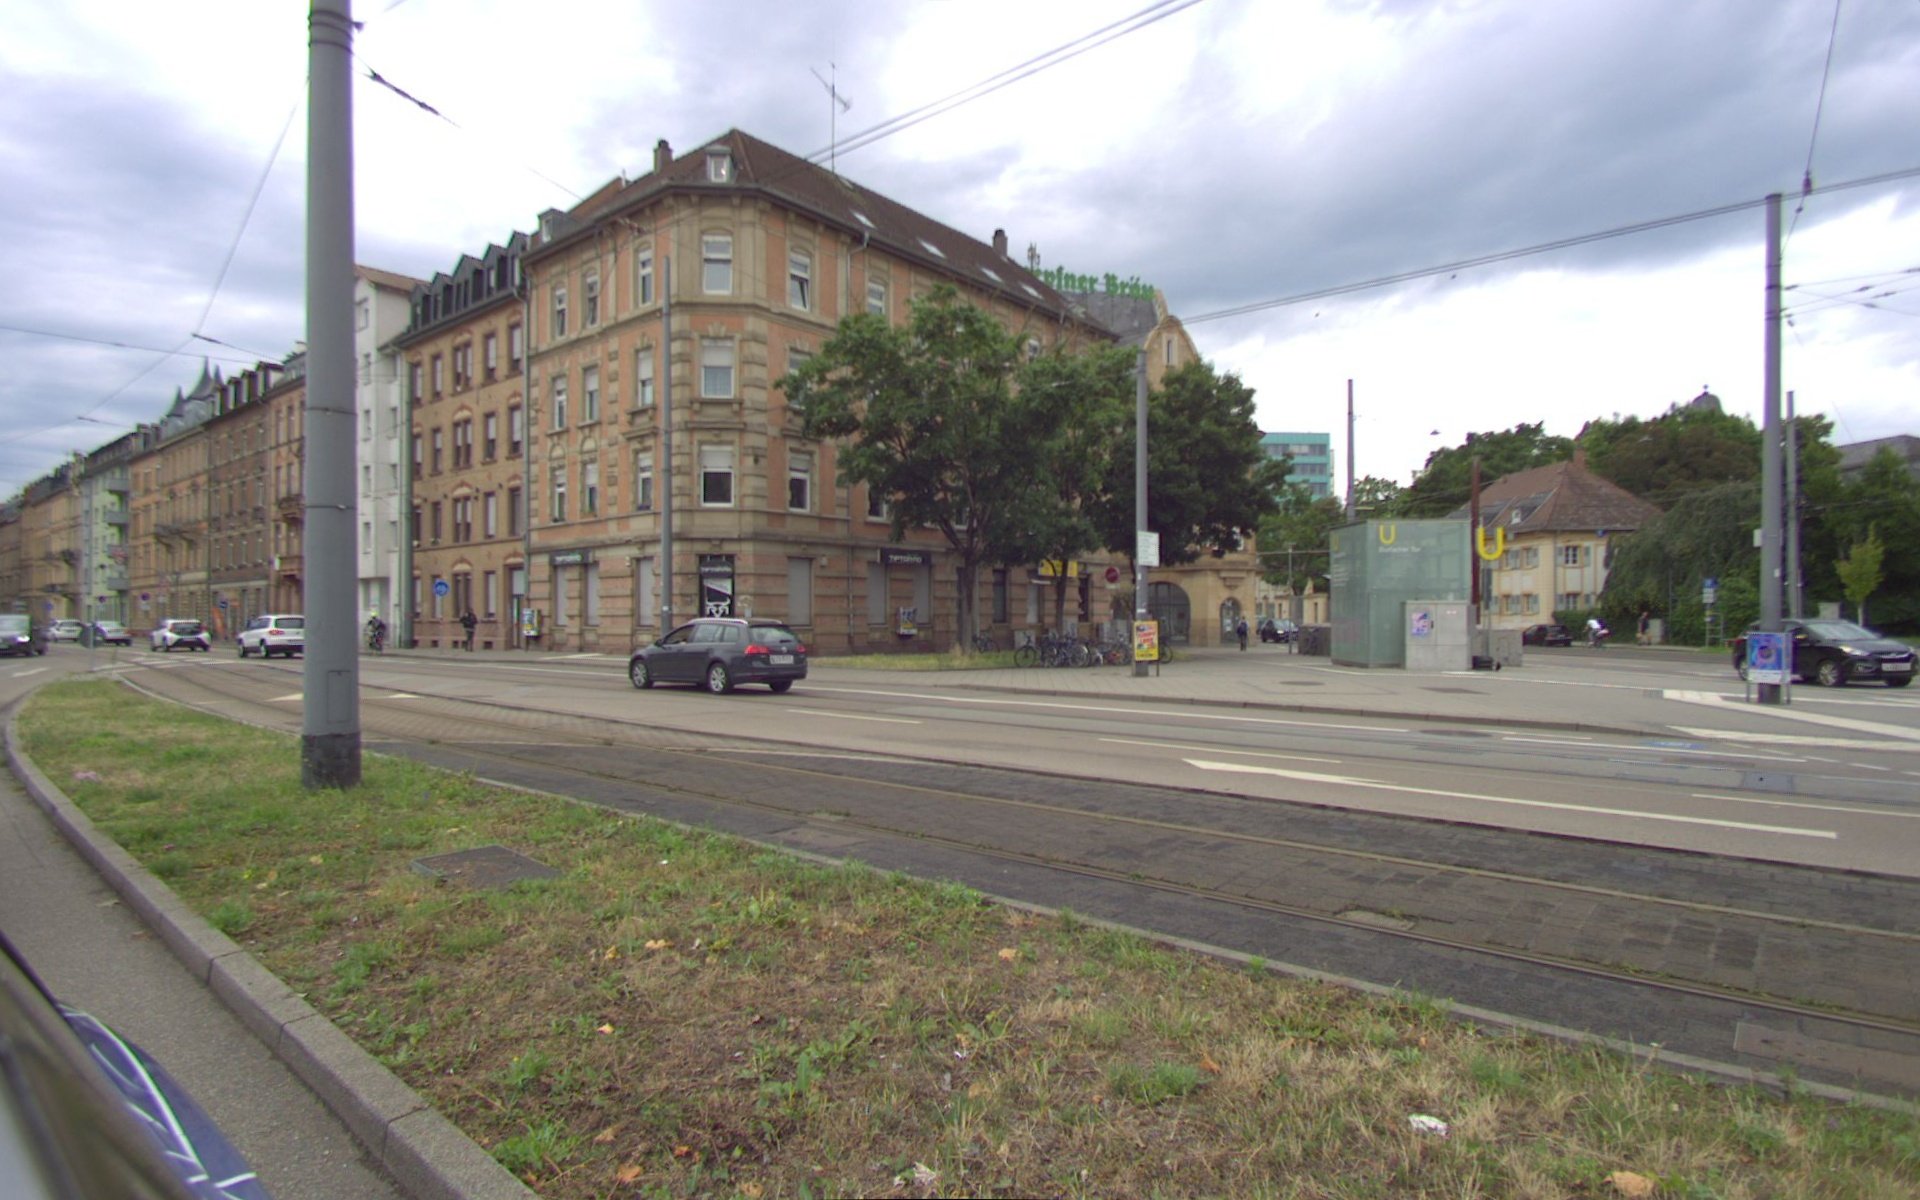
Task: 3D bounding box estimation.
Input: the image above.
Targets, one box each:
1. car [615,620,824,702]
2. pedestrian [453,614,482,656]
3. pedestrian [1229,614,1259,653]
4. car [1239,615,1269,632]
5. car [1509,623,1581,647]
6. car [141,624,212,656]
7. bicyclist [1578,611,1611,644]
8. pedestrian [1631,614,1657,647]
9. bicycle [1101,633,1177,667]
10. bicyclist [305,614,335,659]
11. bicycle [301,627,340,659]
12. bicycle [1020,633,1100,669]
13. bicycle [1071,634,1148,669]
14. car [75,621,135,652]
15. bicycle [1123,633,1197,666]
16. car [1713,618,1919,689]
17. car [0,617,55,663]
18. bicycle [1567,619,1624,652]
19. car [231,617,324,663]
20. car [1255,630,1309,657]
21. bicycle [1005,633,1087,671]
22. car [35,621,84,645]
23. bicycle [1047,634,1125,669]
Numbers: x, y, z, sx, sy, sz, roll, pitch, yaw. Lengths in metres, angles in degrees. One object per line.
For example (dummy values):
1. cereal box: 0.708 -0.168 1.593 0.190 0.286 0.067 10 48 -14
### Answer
1. car: -5.001 1.169 20.713 4.459 1.481 1.865 -1 -1 39
2. pedestrian: -20.123 1.412 41.374 0.797 1.688 0.802 -1 -2 37
3. pedestrian: 14.067 1.666 50.133 1.083 1.911 1.139 -1 -2 34
4. car: 31.784 2.554 109.607 1.971 1.863 4.001 0 -1 -2
5. car: 35.706 2.128 61.936 1.971 1.442 4.001 0 -1 -2
6. car: -36.983 1.864 47.763 4.013 1.442 1.792 -1 -1 39
7. bicyclist: 34.638 1.507 55.273 1.077 1.796 1.017 0 -1 -2
8. pedestrian: 38.460 1.717 56.886 0.797 1.846 0.851 0 -1 -7
9. bicycle: 5.816 1.616 32.995 2.395 1.038 0.744 -1 -2 41
10. bicyclist: -27.127 1.522 42.901 0.923 1.881 0.813 -1 -2 41
11. bicycle: -27.144 1.802 42.919 2.410 1.302 0.788 -1 -2 42
12. bicycle: 2.982 1.509 30.283 2.395 1.038 0.744 -1 -2 41
13. bicycle: 4.685 1.612 31.852 2.395 1.038 0.744 -1 -2 41
14. car: -49.426 2.062 58.488 4.229 1.716 1.873 -1 -1 39
15. bicycle: 6.699 1.657 34.067 2.395 1.038 0.744 -1 -2 41
16. car: 21.517 1.261 25.252 1.969 1.623 4.250 0 -1 -6
17. car: -38.433 1.600 40.967 5.131 1.768 2.340 -2 -2 44
18. bicycle: 34.658 1.899 55.290 1.070 1.763 3.087 0 -1 -2
19. car: -26.152 1.496 38.721 4.226 1.658 1.812 -1 -1 39
20. car: 22.368 3.002 70.437 2.132 1.727 4.923 1 -2 0
21. bicycle: 2.504 1.511 29.717 2.395 1.038 0.826 -1 -2 41
22. car: -61.346 2.224 68.913 4.570 1.521 1.796 -1 -1 39
23. bicycle: 3.862 1.565 31.131 2.395 1.038 0.744 -1 -2 41
